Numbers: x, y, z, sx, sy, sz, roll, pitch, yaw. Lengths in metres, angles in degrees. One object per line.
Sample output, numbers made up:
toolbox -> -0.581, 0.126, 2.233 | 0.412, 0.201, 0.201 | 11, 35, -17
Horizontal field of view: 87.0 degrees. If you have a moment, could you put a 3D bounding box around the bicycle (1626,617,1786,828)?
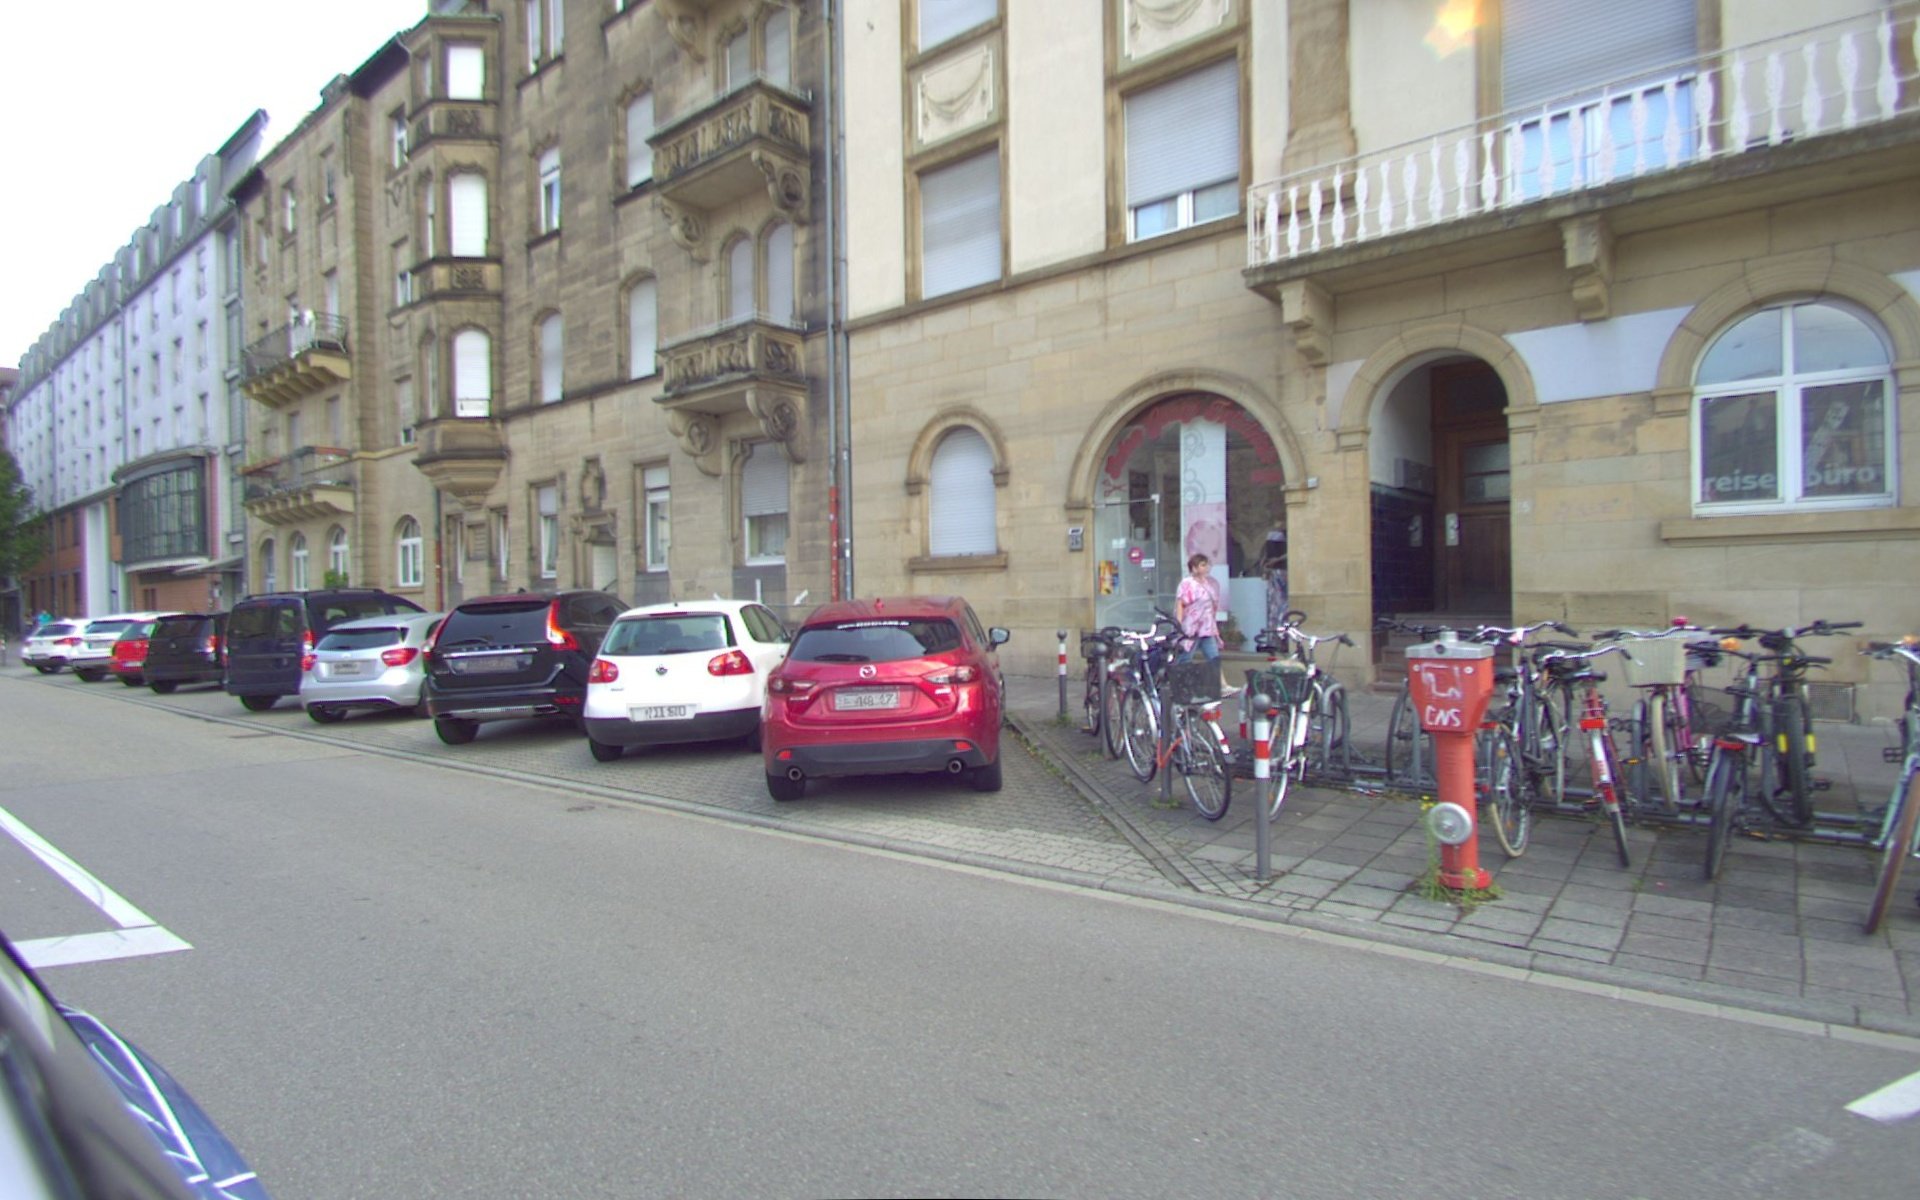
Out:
bicycle -> 4.623, 0.681, 6.231 | 1.558, 1.060, 0.481 | -4, 1, -43

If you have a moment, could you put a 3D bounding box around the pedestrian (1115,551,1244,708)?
pedestrian -> 2.429, 0.301, 11.189 | 0.995, 1.606, 0.932 | -2, 3, 41

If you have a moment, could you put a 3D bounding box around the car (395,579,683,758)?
car -> -4.923, 0.678, 12.507 | 1.778, 1.702, 3.954 | -4, 2, 1

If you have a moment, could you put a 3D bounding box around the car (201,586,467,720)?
car -> -10.306, 0.769, 17.064 | 1.710, 1.882, 3.948 | -2, 1, 6

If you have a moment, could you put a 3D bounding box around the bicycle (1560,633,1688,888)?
bicycle -> 3.473, 0.751, 5.255 | 0.417, 1.060, 1.356 | -2, 1, 38

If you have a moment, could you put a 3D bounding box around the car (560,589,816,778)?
car -> -2.691, 0.721, 10.959 | 1.707, 1.467, 3.956 | -4, 2, -1

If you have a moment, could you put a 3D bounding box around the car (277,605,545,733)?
car -> -7.995, 0.912, 15.219 | 1.708, 1.440, 3.953 | -4, 1, 2

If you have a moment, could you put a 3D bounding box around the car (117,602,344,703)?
car -> -14.810, 0.983, 20.857 | 1.707, 1.597, 3.954 | -3, 3, 1

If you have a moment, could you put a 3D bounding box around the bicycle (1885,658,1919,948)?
bicycle -> 4.429, 0.743, 4.150 | 1.708, 1.060, 0.532 | -4, 1, -34

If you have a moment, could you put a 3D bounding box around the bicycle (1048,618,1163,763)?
bicycle -> 1.234, 0.731, 8.965 | 0.549, 1.060, 1.907 | -3, 1, -5

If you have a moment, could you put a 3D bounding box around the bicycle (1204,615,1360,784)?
bicycle -> 2.488, 0.696, 7.706 | 0.557, 1.060, 1.611 | -2, 1, 39

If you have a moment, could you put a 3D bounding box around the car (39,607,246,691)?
car -> -19.641, 1.111, 24.559 | 1.707, 1.597, 3.954 | -4, 2, 1

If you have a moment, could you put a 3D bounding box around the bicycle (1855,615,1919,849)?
bicycle -> 5.302, 0.657, 5.496 | 1.590, 1.060, 0.481 | -4, 1, -43

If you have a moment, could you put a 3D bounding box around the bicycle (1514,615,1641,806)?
bicycle -> 4.150, 0.677, 6.760 | 0.462, 1.060, 1.464 | -2, 1, 41

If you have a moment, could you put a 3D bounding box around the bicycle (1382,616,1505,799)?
bicycle -> 3.399, 0.687, 7.062 | 0.462, 1.060, 1.466 | -2, 1, 37

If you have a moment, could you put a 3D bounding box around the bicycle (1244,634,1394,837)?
bicycle -> 2.354, 0.803, 6.534 | 0.462, 1.060, 1.466 | -2, 1, 37

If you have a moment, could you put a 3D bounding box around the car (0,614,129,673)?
car -> -29.252, 1.381, 32.532 | 1.707, 1.597, 3.954 | -4, 1, 1

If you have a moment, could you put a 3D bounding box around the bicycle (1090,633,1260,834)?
bicycle -> 1.376, 0.809, 6.822 | 0.549, 1.060, 1.815 | -3, 1, -6

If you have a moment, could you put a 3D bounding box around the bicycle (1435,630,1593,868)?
bicycle -> 3.119, 0.746, 5.638 | 0.462, 1.060, 1.465 | -2, 1, 40

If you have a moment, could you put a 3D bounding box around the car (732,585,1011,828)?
car -> -0.528, 0.684, 8.716 | 1.788, 1.468, 3.998 | -3, 2, 2

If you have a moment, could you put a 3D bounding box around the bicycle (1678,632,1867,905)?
bicycle -> 4.072, 0.744, 5.033 | 1.558, 1.060, 0.481 | -4, 1, -43

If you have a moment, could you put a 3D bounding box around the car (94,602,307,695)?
car -> -16.884, 0.995, 22.778 | 1.707, 1.597, 3.955 | -3, 3, 1

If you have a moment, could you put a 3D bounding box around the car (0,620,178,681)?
car -> -24.107, 1.347, 28.118 | 1.707, 1.485, 3.953 | -1, 0, 1
